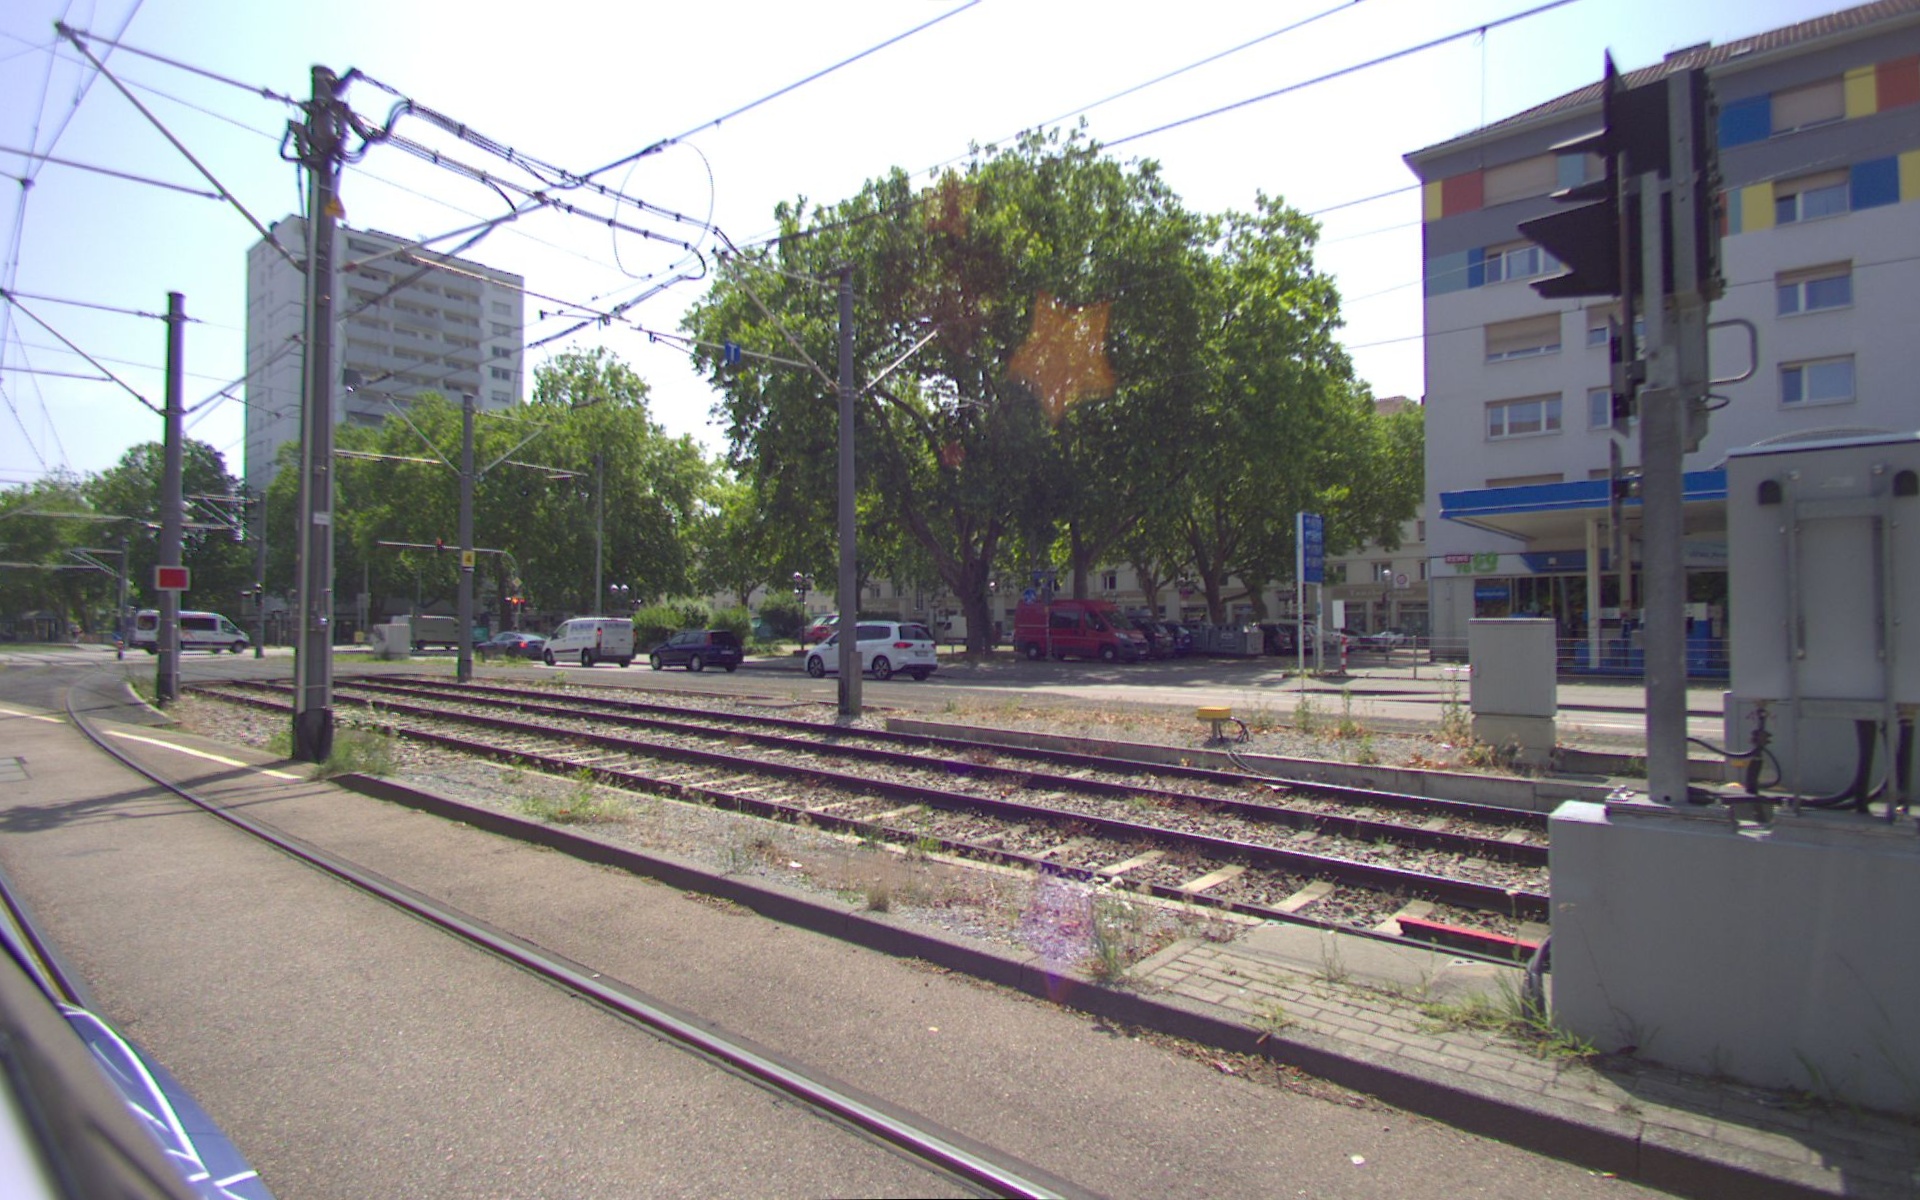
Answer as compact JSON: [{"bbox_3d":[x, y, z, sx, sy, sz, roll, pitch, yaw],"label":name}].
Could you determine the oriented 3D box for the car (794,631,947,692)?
[{"bbox_3d":[-2.699,1.769,29.699,4.601,1.638,1.827,-2,-4,42],"label":"car"}]

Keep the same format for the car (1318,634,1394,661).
[{"bbox_3d":[24.696,2.947,63.222,3.997,1.623,1.973,-2,-2,40],"label":"car"}]

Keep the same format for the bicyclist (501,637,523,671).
[{"bbox_3d":[-22.413,2.698,50.626,0.867,1.698,0.632,-2,-2,38],"label":"bicyclist"}]

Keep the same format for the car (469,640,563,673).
[{"bbox_3d":[-19.650,2.491,44.720,4.624,1.369,1.927,-3,-3,40],"label":"car"}]

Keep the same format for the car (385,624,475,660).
[{"bbox_3d":[-40.768,3.197,78.083,2.060,2.657,6.596,-1,-2,17],"label":"car"}]

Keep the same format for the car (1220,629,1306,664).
[{"bbox_3d":[15.640,2.398,52.356,3.997,1.719,1.582,-2,-2,41],"label":"car"}]

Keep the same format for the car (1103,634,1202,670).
[{"bbox_3d":[8.646,2.314,45.669,3.998,1.538,1.844,-3,-3,41],"label":"car"}]

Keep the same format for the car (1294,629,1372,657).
[{"bbox_3d":[21.937,2.524,59.529,3.993,1.560,1.648,-2,-2,37],"label":"car"}]

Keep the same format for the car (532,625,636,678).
[{"bbox_3d":[-15.142,2.034,40.663,4.800,2.006,1.759,-2,-3,40],"label":"car"}]

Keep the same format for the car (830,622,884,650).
[{"bbox_3d":[-8.021,2.785,78.360,3.998,2.099,1.973,-2,-2,41],"label":"car"}]

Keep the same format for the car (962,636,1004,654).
[{"bbox_3d":[1.989,3.867,87.106,1.621,1.420,3.658,-2,-2,40],"label":"car"}]

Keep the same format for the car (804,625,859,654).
[{"bbox_3d":[-9.686,2.978,76.357,3.998,2.099,1.973,-2,-3,41],"label":"car"}]

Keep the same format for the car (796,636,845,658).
[{"bbox_3d":[-9.755,3.287,70.975,1.471,1.394,3.300,-2,-2,40],"label":"car"}]

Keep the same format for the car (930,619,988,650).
[{"bbox_3d":[-0.042,3.097,91.168,2.106,2.680,5.634,-2,-2,40],"label":"car"}]

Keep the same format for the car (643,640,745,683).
[{"bbox_3d":[-9.408,2.138,35.656,3.779,1.431,1.579,-2,-4,41],"label":"car"}]

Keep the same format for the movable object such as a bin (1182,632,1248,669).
[{"bbox_3d":[11.722,2.286,46.450,1.985,1.623,2.689,-2,-2,40],"label":"movable object such as a bin"}]

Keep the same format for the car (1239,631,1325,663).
[{"bbox_3d":[17.232,2.532,54.307,3.995,1.622,1.845,-2,-3,38],"label":"car"}]

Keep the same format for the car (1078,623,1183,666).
[{"bbox_3d":[7.264,1.883,43.292,3.998,1.733,1.973,-2,-2,41],"label":"car"}]

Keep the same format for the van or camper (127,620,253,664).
[{"bbox_3d":[-45.326,2.483,59.790,2.056,2.480,5.869,-1,-3,17],"label":"van or camper"}]

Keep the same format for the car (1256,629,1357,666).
[{"bbox_3d":[19.580,2.689,57.343,5.098,2.006,1.900,-2,-3,36],"label":"car"}]

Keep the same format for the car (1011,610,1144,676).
[{"bbox_3d":[4.535,1.634,39.636,4.978,2.411,1.828,-1,-2,40],"label":"car"}]
